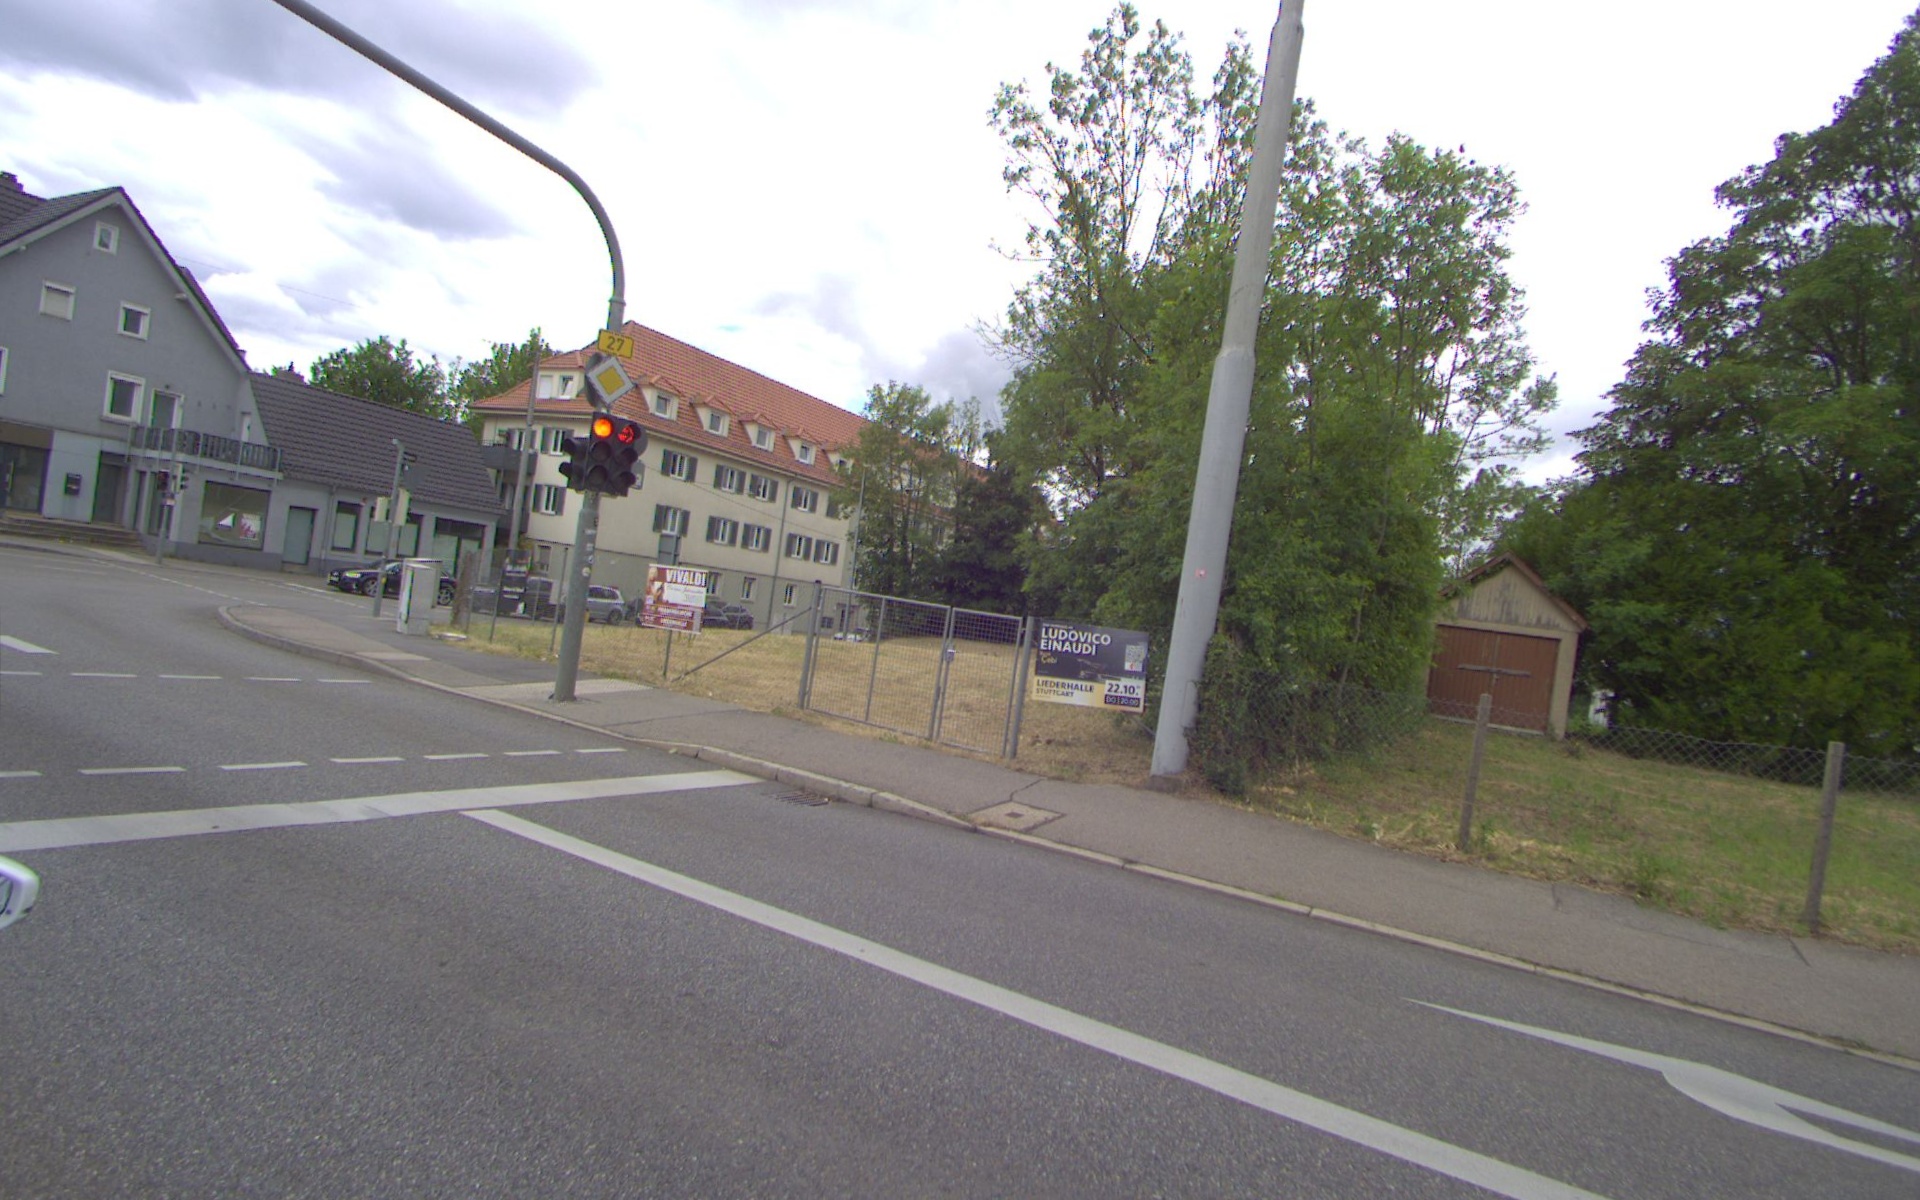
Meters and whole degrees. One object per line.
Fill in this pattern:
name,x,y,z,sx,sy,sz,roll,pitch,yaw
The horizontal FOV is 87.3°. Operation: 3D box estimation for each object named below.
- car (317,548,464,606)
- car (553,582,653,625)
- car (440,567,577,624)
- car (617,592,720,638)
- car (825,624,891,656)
car,-20.158,-0.786,35.758,1.769,1.386,4.100,7,-3,30
car,-16.599,0.172,46.946,1.769,1.386,4.100,7,-3,30
car,-16.154,-0.126,36.199,1.769,1.386,4.100,7,-3,30
car,-12.596,0.684,43.747,1.769,1.386,4.100,7,-3,30
car,-6.054,2.417,60.219,1.769,1.386,4.100,7,-3,30
